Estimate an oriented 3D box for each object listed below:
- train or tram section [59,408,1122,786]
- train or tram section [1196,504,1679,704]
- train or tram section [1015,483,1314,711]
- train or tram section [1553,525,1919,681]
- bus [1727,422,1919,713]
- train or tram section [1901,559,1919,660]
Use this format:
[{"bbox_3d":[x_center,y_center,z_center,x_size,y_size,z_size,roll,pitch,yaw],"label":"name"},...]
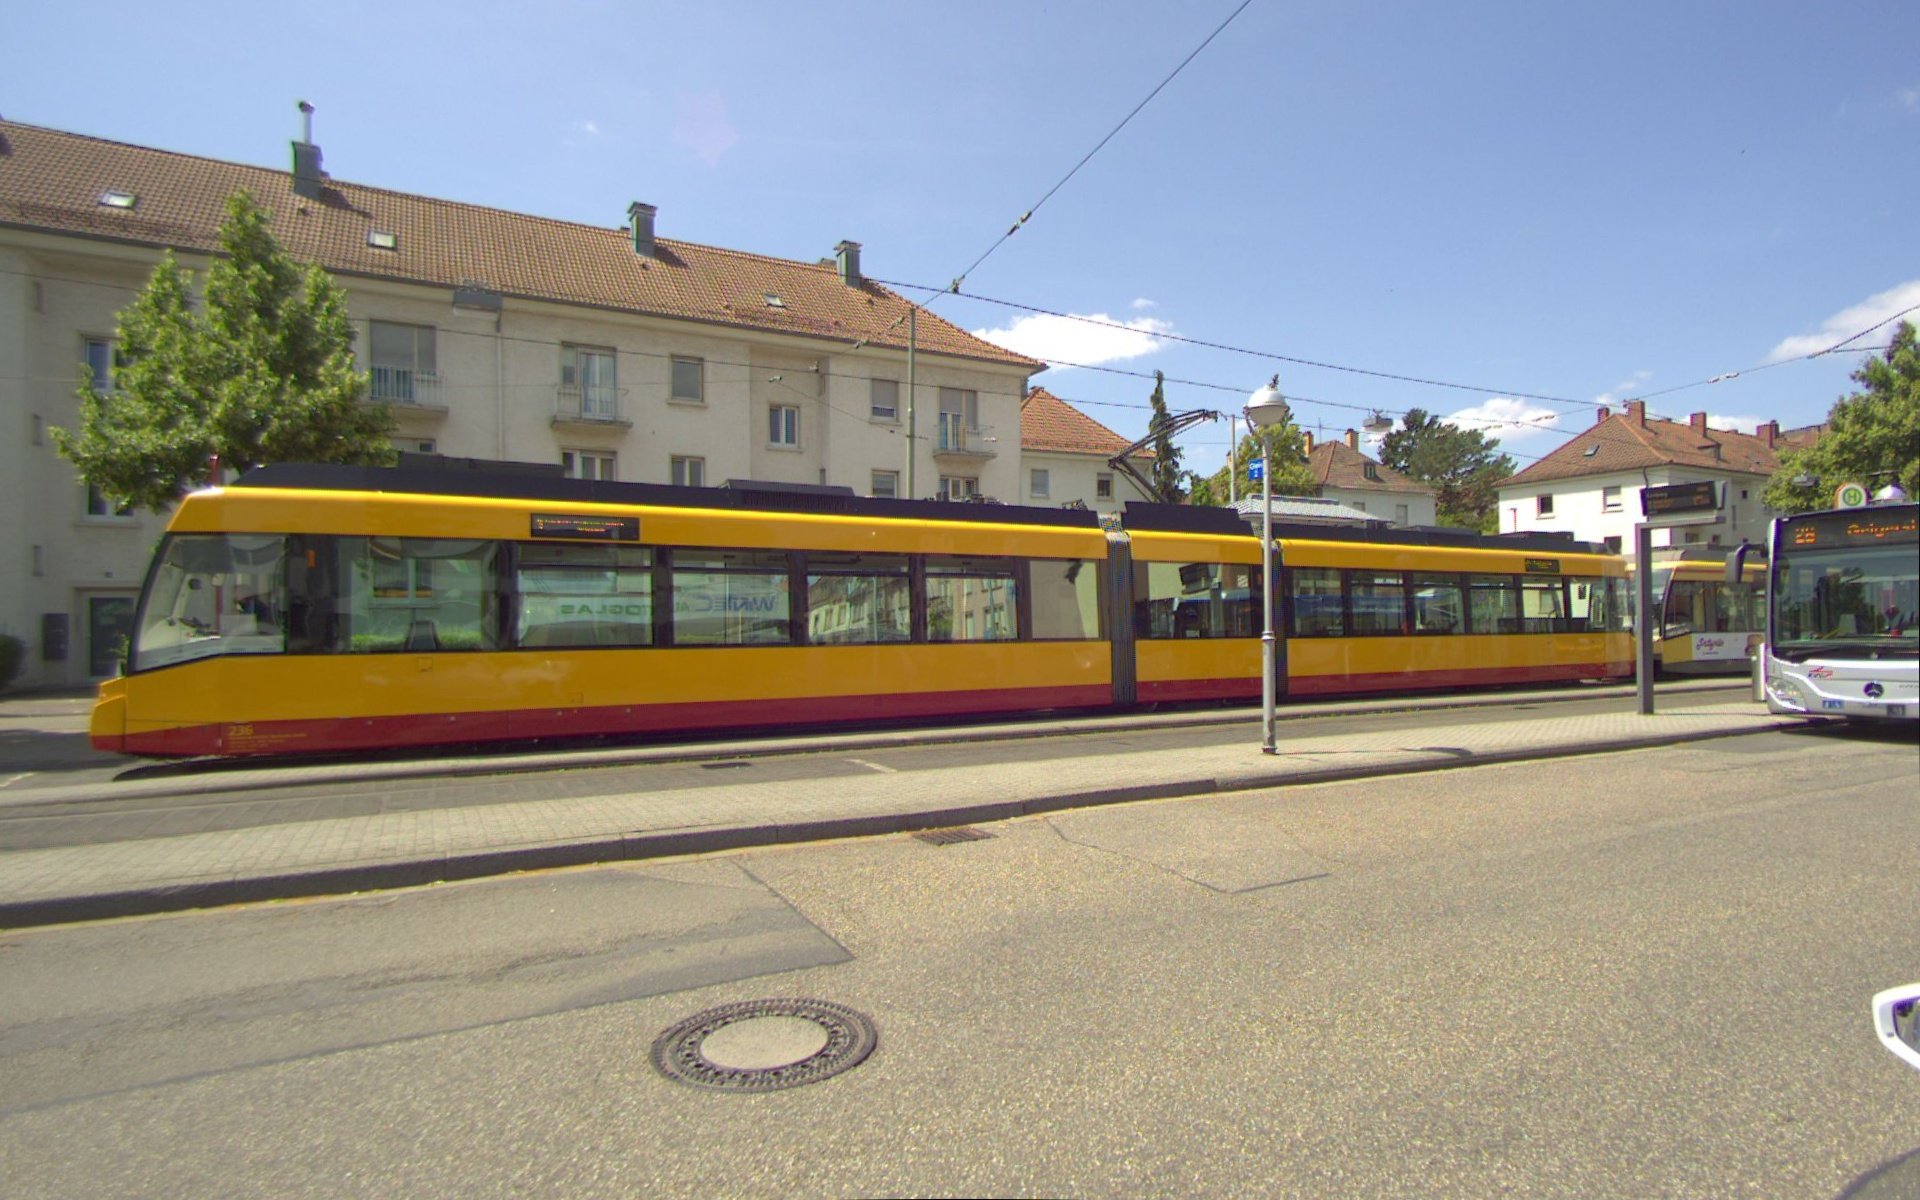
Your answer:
[{"bbox_3d":[-3.667,0.021,13.796,12.559,3.542,2.950,1,1,-30],"label":"train or tram section"},{"bbox_3d":[10.925,0.116,22.084,12.503,3.542,2.950,1,1,-30],"label":"train or tram section"},{"bbox_3d":[3.616,0.018,17.954,4.364,3.541,2.951,1,-2,-29],"label":"train or tram section"},{"bbox_3d":[23.779,0.132,29.351,17.141,3.691,2.950,1,1,-30],"label":"train or tram section"},{"bbox_3d":[16.356,-0.245,15.404,11.897,3.472,2.894,2,0,-30],"label":"bus"},{"bbox_3d":[41.832,0.424,39.566,13.824,3.691,2.950,1,1,-30],"label":"train or tram section"}]
